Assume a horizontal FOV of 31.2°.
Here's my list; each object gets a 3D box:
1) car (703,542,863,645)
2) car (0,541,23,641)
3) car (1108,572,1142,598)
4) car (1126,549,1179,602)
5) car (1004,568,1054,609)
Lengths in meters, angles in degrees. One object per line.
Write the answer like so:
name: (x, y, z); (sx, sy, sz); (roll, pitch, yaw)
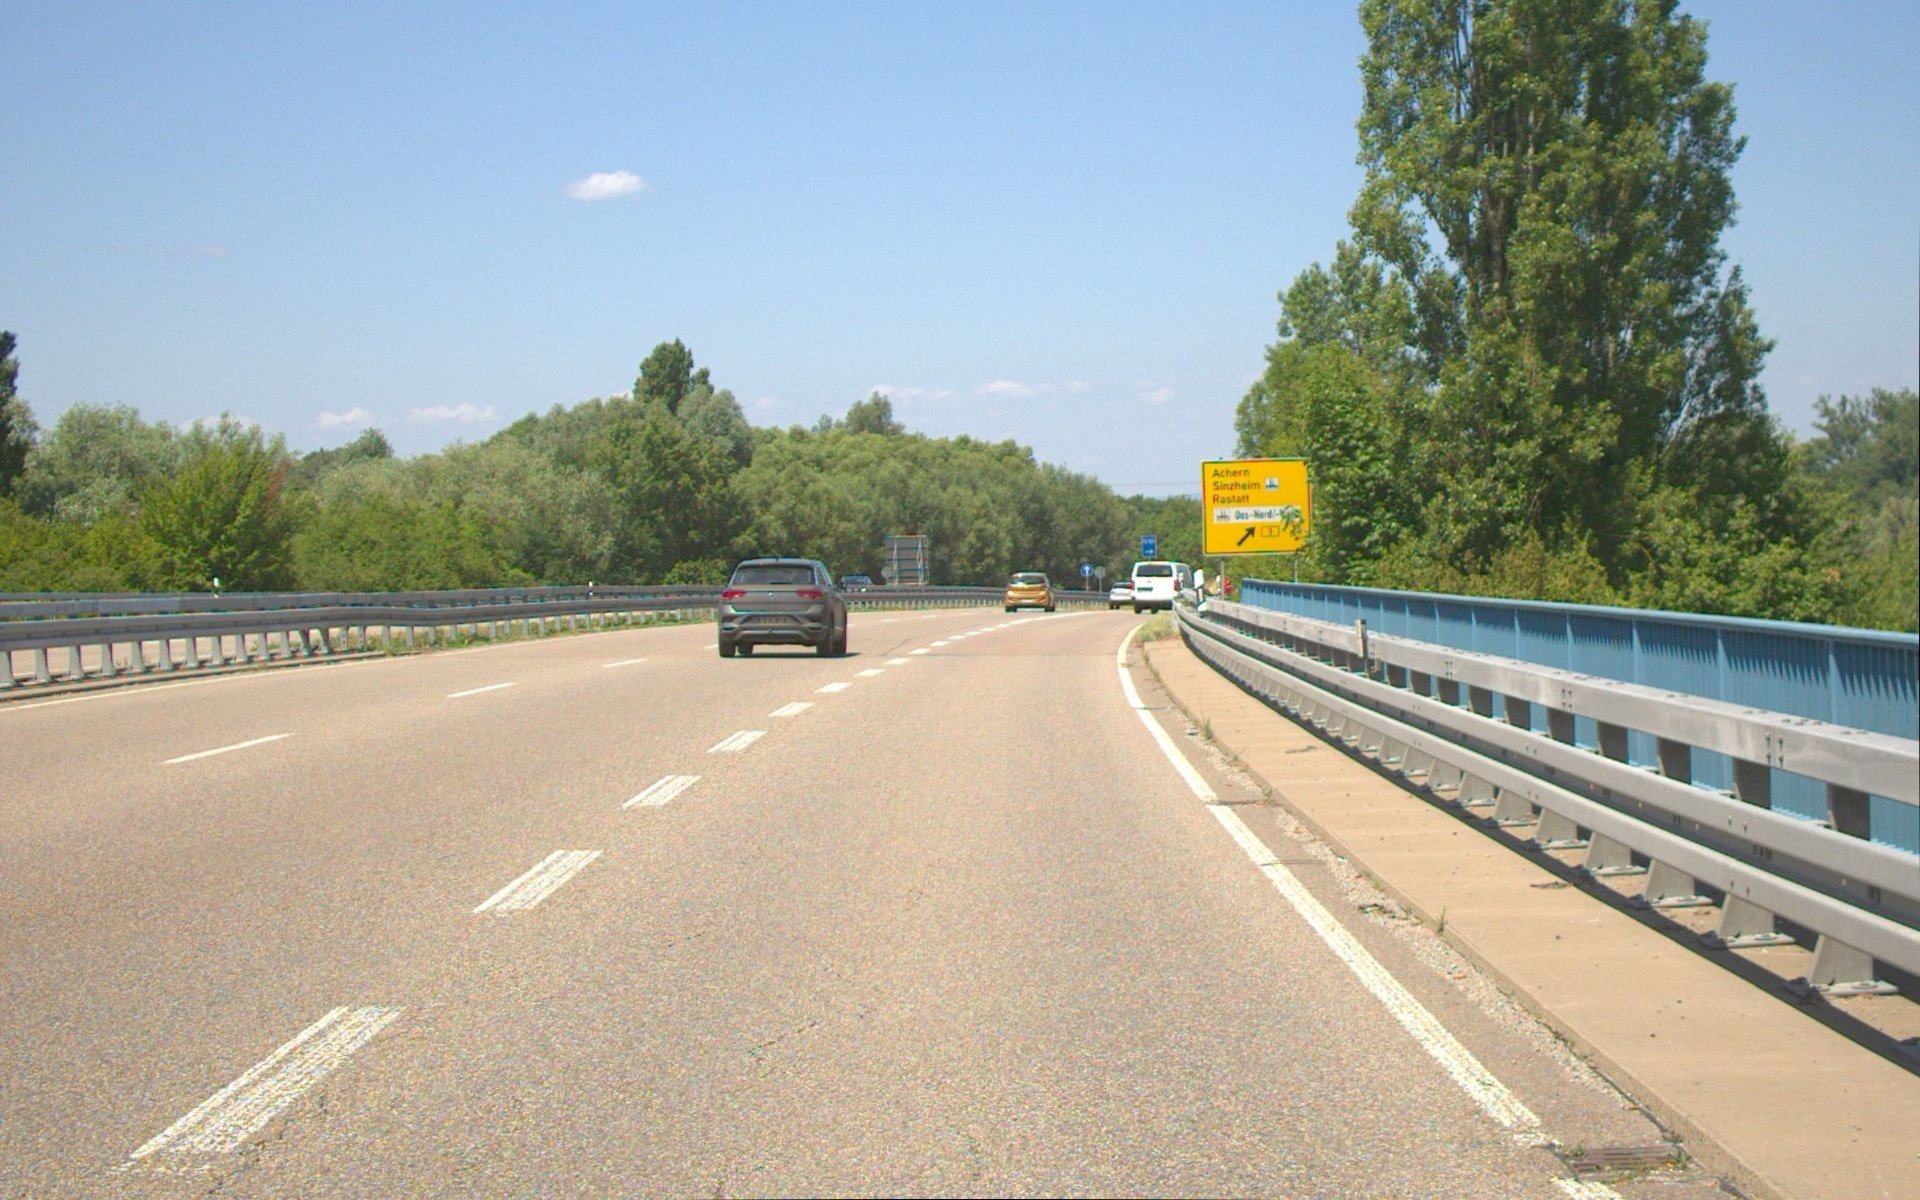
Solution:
car: (-2.784, -0.140, 55.009); (1.841, 1.524, 4.469); (1, 1, 6)
car: (-16.801, -0.143, 55.631); (1.843, 1.662, 5.051); (0, 0, 0)
car: (9.724, -0.899, 202.310); (1.841, 1.446, 4.000); (1, 1, 1)
car: (7.200, -0.932, 128.877); (1.841, 1.889, 4.000); (1, 1, 2)
car: (2.616, -0.439, 130.034); (1.841, 1.459, 4.000); (1, 1, 2)
